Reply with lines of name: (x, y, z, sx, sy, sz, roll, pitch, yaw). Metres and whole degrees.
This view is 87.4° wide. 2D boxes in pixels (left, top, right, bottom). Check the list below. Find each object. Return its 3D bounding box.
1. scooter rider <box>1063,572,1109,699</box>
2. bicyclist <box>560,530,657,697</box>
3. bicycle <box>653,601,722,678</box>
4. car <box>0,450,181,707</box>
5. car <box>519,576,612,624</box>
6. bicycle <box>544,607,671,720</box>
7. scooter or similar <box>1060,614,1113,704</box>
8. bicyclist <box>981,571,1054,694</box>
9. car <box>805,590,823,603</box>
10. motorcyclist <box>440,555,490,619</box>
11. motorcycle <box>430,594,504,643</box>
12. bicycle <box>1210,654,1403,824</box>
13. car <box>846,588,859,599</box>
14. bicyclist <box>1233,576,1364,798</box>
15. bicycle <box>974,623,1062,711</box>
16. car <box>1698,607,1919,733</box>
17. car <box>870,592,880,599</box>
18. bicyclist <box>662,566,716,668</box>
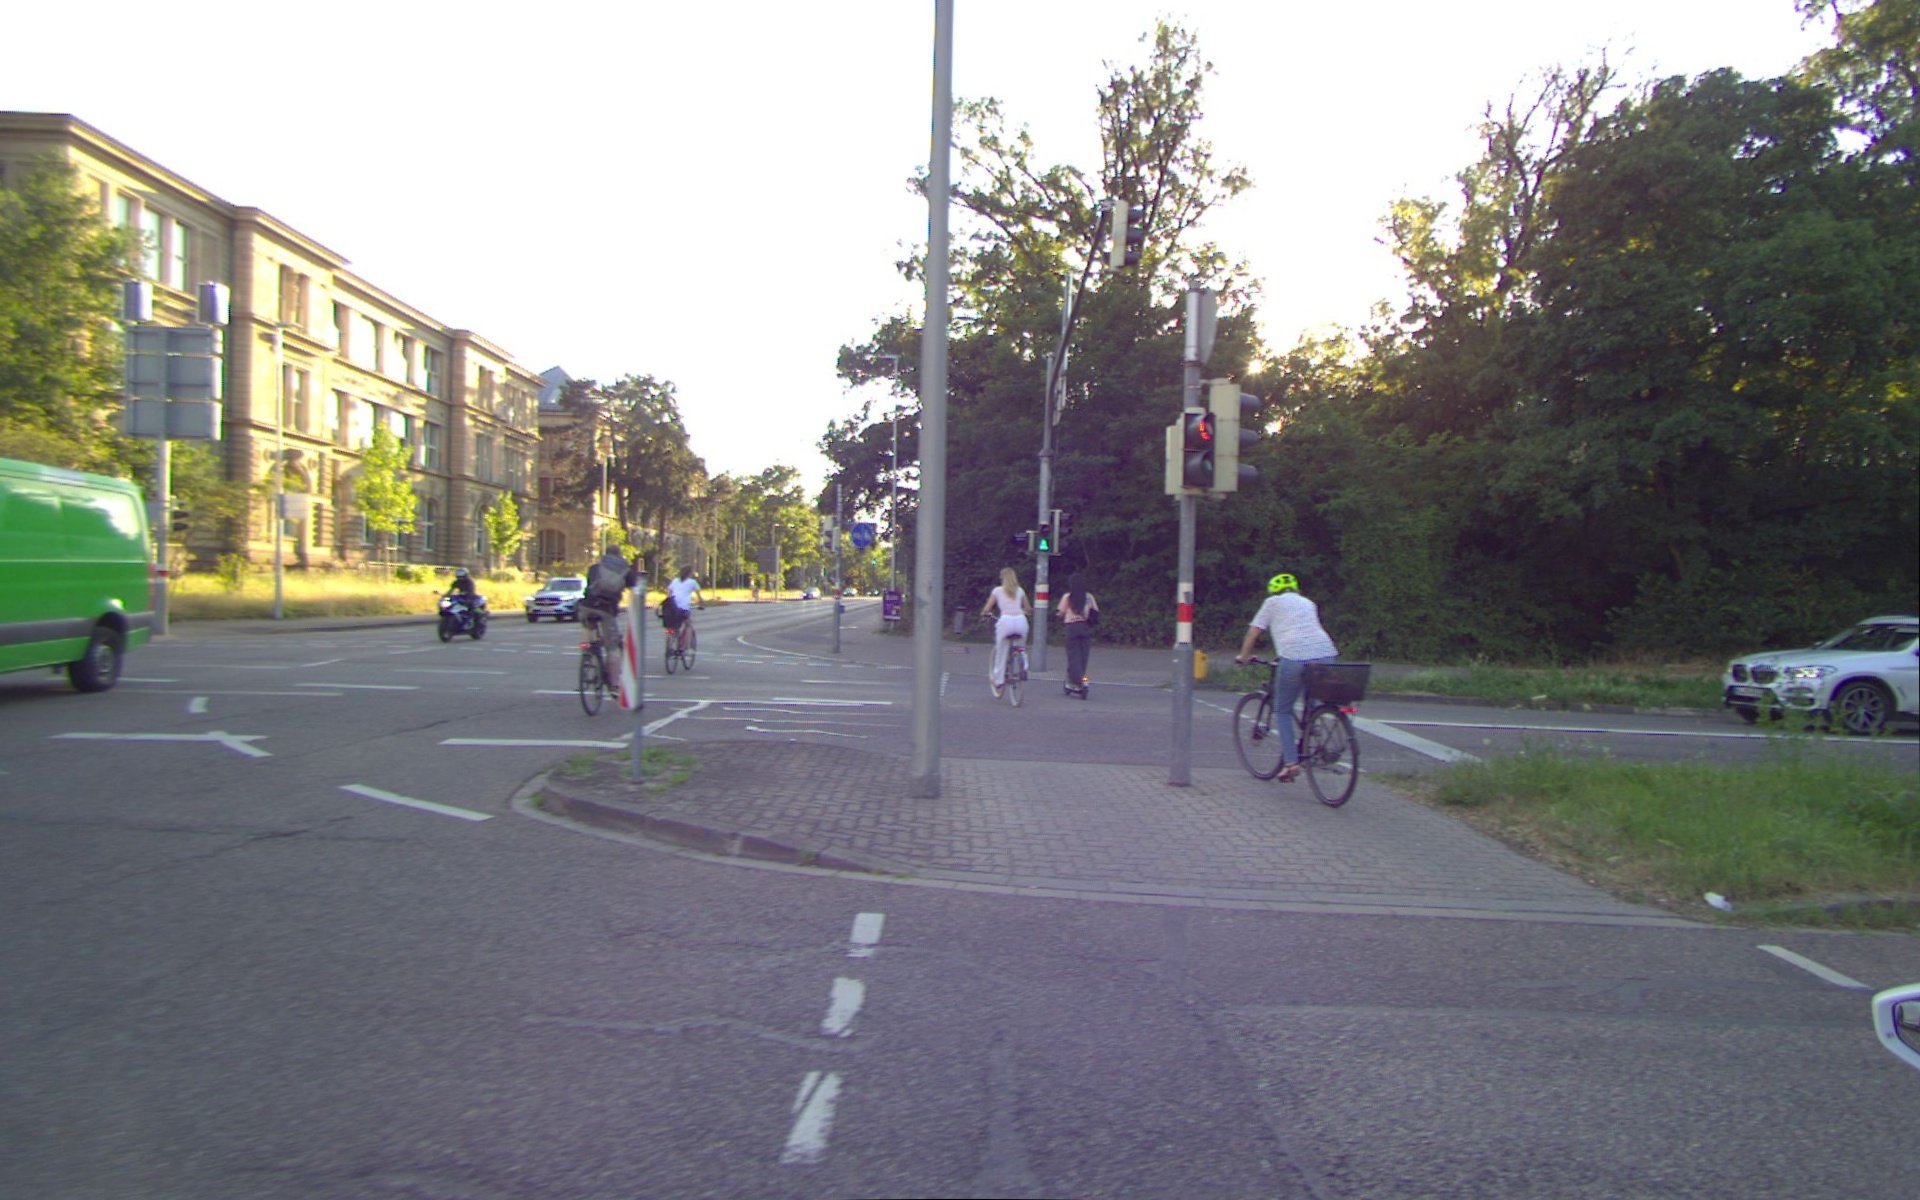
scooter rider: (1.815, 0.507, 14.569, 0.556, 1.790, 0.505, 2, 0, 0)
bicyclist: (-3.746, 0.136, 10.760, 0.687, 1.689, 0.798, 3, 0, 0)
bicycle: (-4.491, 0.624, 16.672, 0.603, 1.153, 1.884, 2, 1, -1)
car: (-9.672, -0.219, 9.052, 2.011, 2.308, 5.922, 1, 0, -15)
car: (-14.926, 0.002, 38.284, 1.735, 1.657, 4.512, 2, 0, 0)
bicycle: (-3.769, 0.635, 10.889, 0.687, 1.077, 1.825, 3, 0, 0)
scooter or similar: (1.804, 0.813, 14.430, 0.552, 1.205, 1.422, 2, 0, 0)
bicyclist: (0.747, 0.412, 13.218, 0.748, 1.538, 0.855, 2, 1, -8)
car: (-16.821, -0.416, 115.561, 1.742, 1.494, 3.773, 2, 0, -5)
motorcyclist: (-11.010, -0.287, 22.372, 0.737, 1.376, 0.704, 1, 0, -1)
motorcycle: (-11.031, 0.394, 22.543, 0.742, 1.014, 1.878, 2, 0, -1)
bicycle: (2.561, 0.982, 7.655, 0.555, 1.028, 1.798, 1, 0, -11)
car: (-17.392, -1.022, 162.608, 1.962, 1.662, 3.997, 2, 0, -4)
bicyclist: (2.563, 0.629, 7.678, 0.546, 1.590, 0.897, 1, 0, -10)
bicycle: (0.725, 0.851, 13.313, 0.759, 1.020, 2.013, 2, -1, -8)
car: (13.505, 1.019, 14.329, 4.548, 1.634, 1.828, 2, -2, 2)
car: (-18.300, -0.968, 216.344, 1.961, 1.283, 3.998, 2, 0, -3)
bicyclist: (-4.482, 0.273, 16.665, 0.593, 1.607, 0.909, 3, 0, -1)
